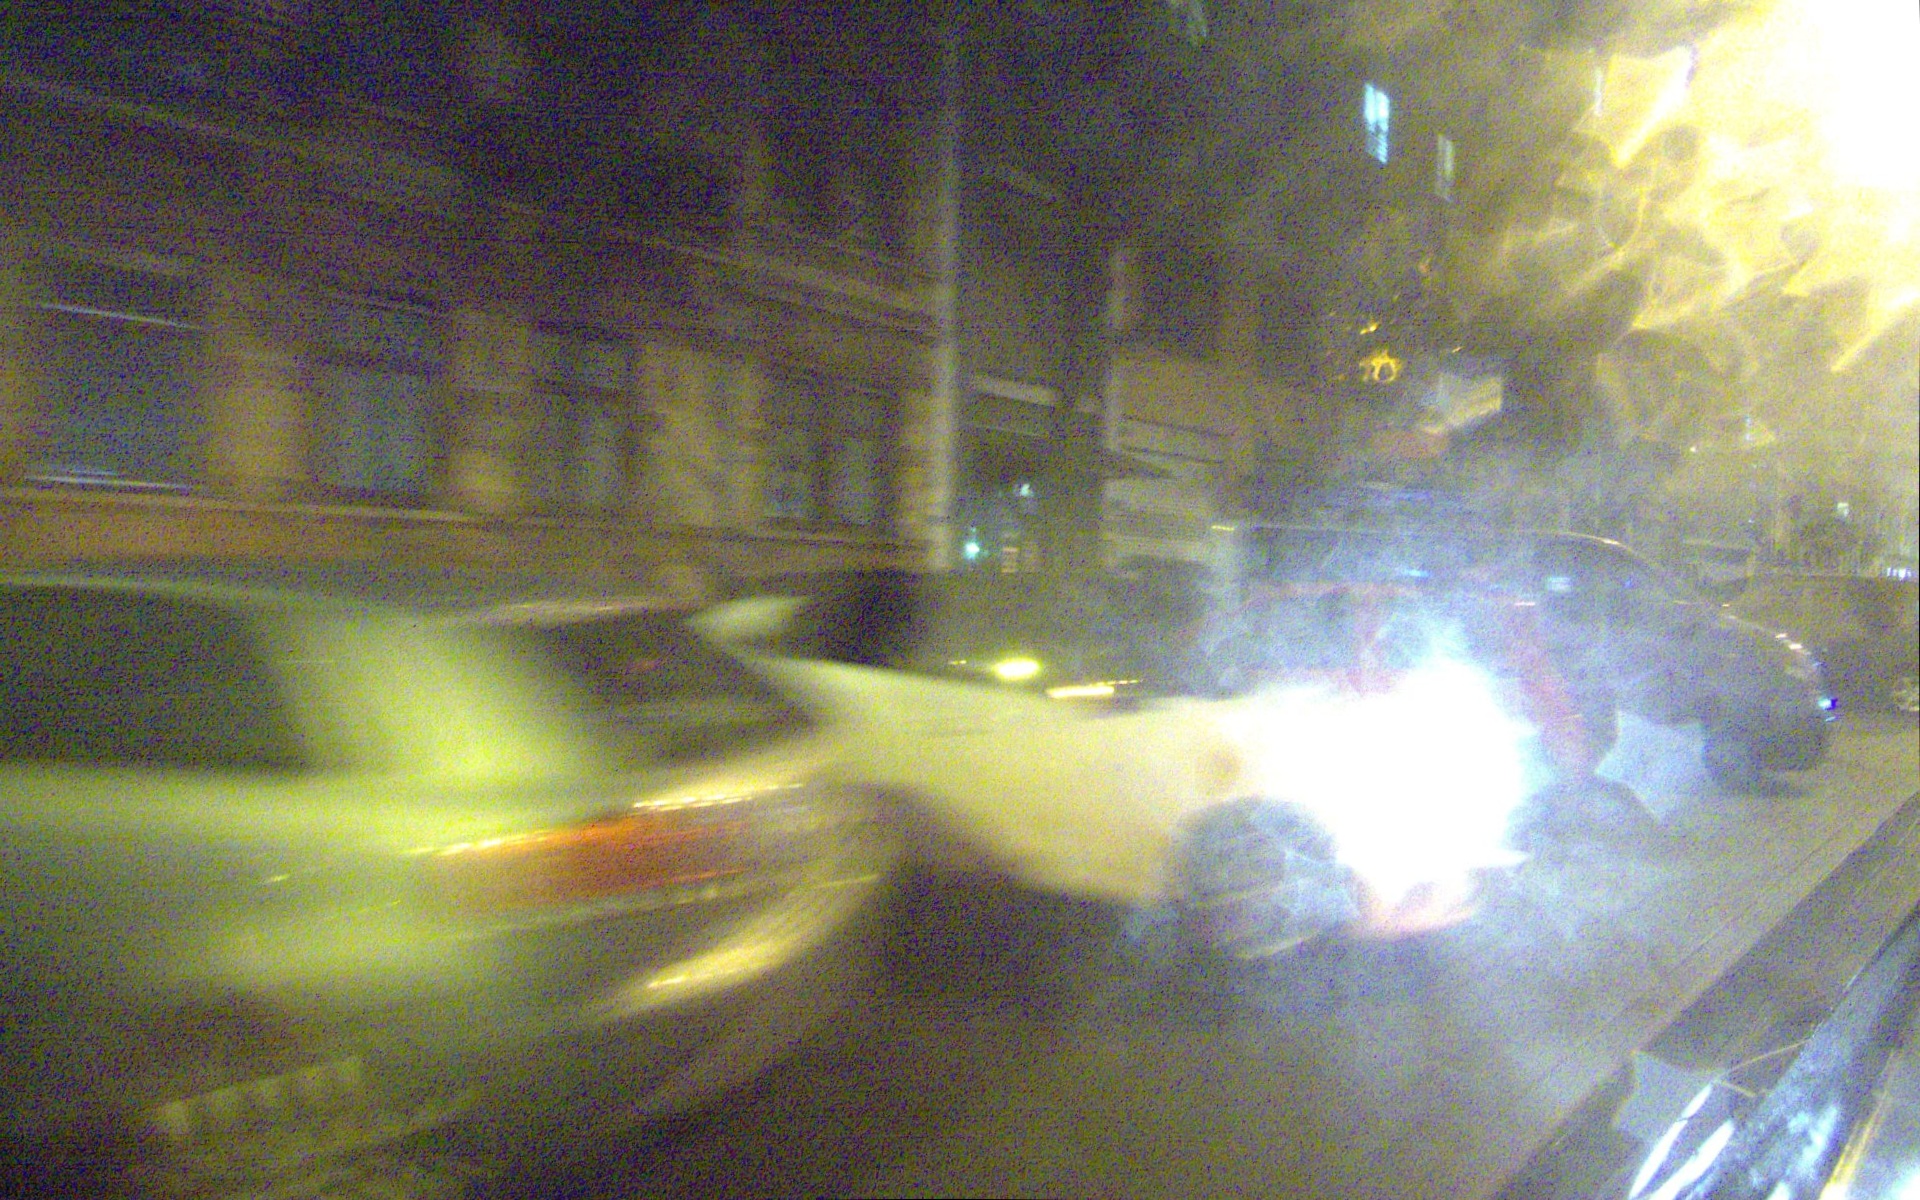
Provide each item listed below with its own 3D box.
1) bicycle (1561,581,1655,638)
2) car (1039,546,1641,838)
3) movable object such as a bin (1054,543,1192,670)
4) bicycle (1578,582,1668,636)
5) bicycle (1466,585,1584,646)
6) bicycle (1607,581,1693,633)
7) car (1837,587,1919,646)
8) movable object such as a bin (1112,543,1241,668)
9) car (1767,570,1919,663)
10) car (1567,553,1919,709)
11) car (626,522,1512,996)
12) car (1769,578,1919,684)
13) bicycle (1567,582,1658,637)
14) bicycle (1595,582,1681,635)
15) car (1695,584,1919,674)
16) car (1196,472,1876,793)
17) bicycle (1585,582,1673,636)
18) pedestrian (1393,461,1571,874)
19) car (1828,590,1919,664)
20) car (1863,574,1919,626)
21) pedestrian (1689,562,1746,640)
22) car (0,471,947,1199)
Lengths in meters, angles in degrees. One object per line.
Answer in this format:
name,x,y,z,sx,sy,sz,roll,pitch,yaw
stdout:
bicycle,15.053,0.210,23.528,1.685,1.160,0.655,6,4,42
car,2.326,0.469,6.832,3.350,1.561,1.571,2,2,14
movable object such as a bin,1.995,0.053,12.455,0.981,1.388,1.259,0,6,-40
bicycle,16.028,0.202,24.483,1.685,1.160,0.533,6,4,42
bicycle,11.487,0.285,20.627,1.973,1.067,0.502,6,4,44
bicycle,17.348,0.167,25.470,1.685,1.160,0.422,6,4,42
car,27.376,0.510,28.464,3.674,1.541,1.643,4,3,25
movable object such as a bin,2.823,0.048,13.246,0.981,1.468,1.212,0,6,-40
car,19.794,0.380,21.186,4.061,1.786,1.845,3,1,23
car,11.314,0.360,14.376,4.186,1.881,1.710,3,3,15
car,0.406,0.472,4.789,3.608,1.561,1.550,2,2,20
car,16.622,0.514,17.446,3.754,1.750,1.731,1,0,19
bicycle,15.503,0.206,24.067,1.685,1.160,0.588,6,4,42
bicycle,16.852,0.197,25.181,1.685,1.160,0.422,6,4,42
car,17.094,0.527,19.794,4.012,1.631,1.832,1,0,21
car,4.470,0.130,8.765,4.656,2.275,1.939,2,2,14
bicycle,16.420,0.199,24.880,1.685,1.160,0.478,6,4,42
pedestrian,2.762,0.319,5.431,0.635,2.038,0.673,3,2,19
car,22.174,0.596,22.907,3.533,1.631,1.696,1,0,29
car,46.058,0.044,47.520,4.872,2.370,2.221,2,2,16
pedestrian,19.061,0.000,25.466,0.932,1.856,0.840,-2,7,-44
car,-2.185,0.487,3.029,3.939,1.571,1.993,2,2,12
